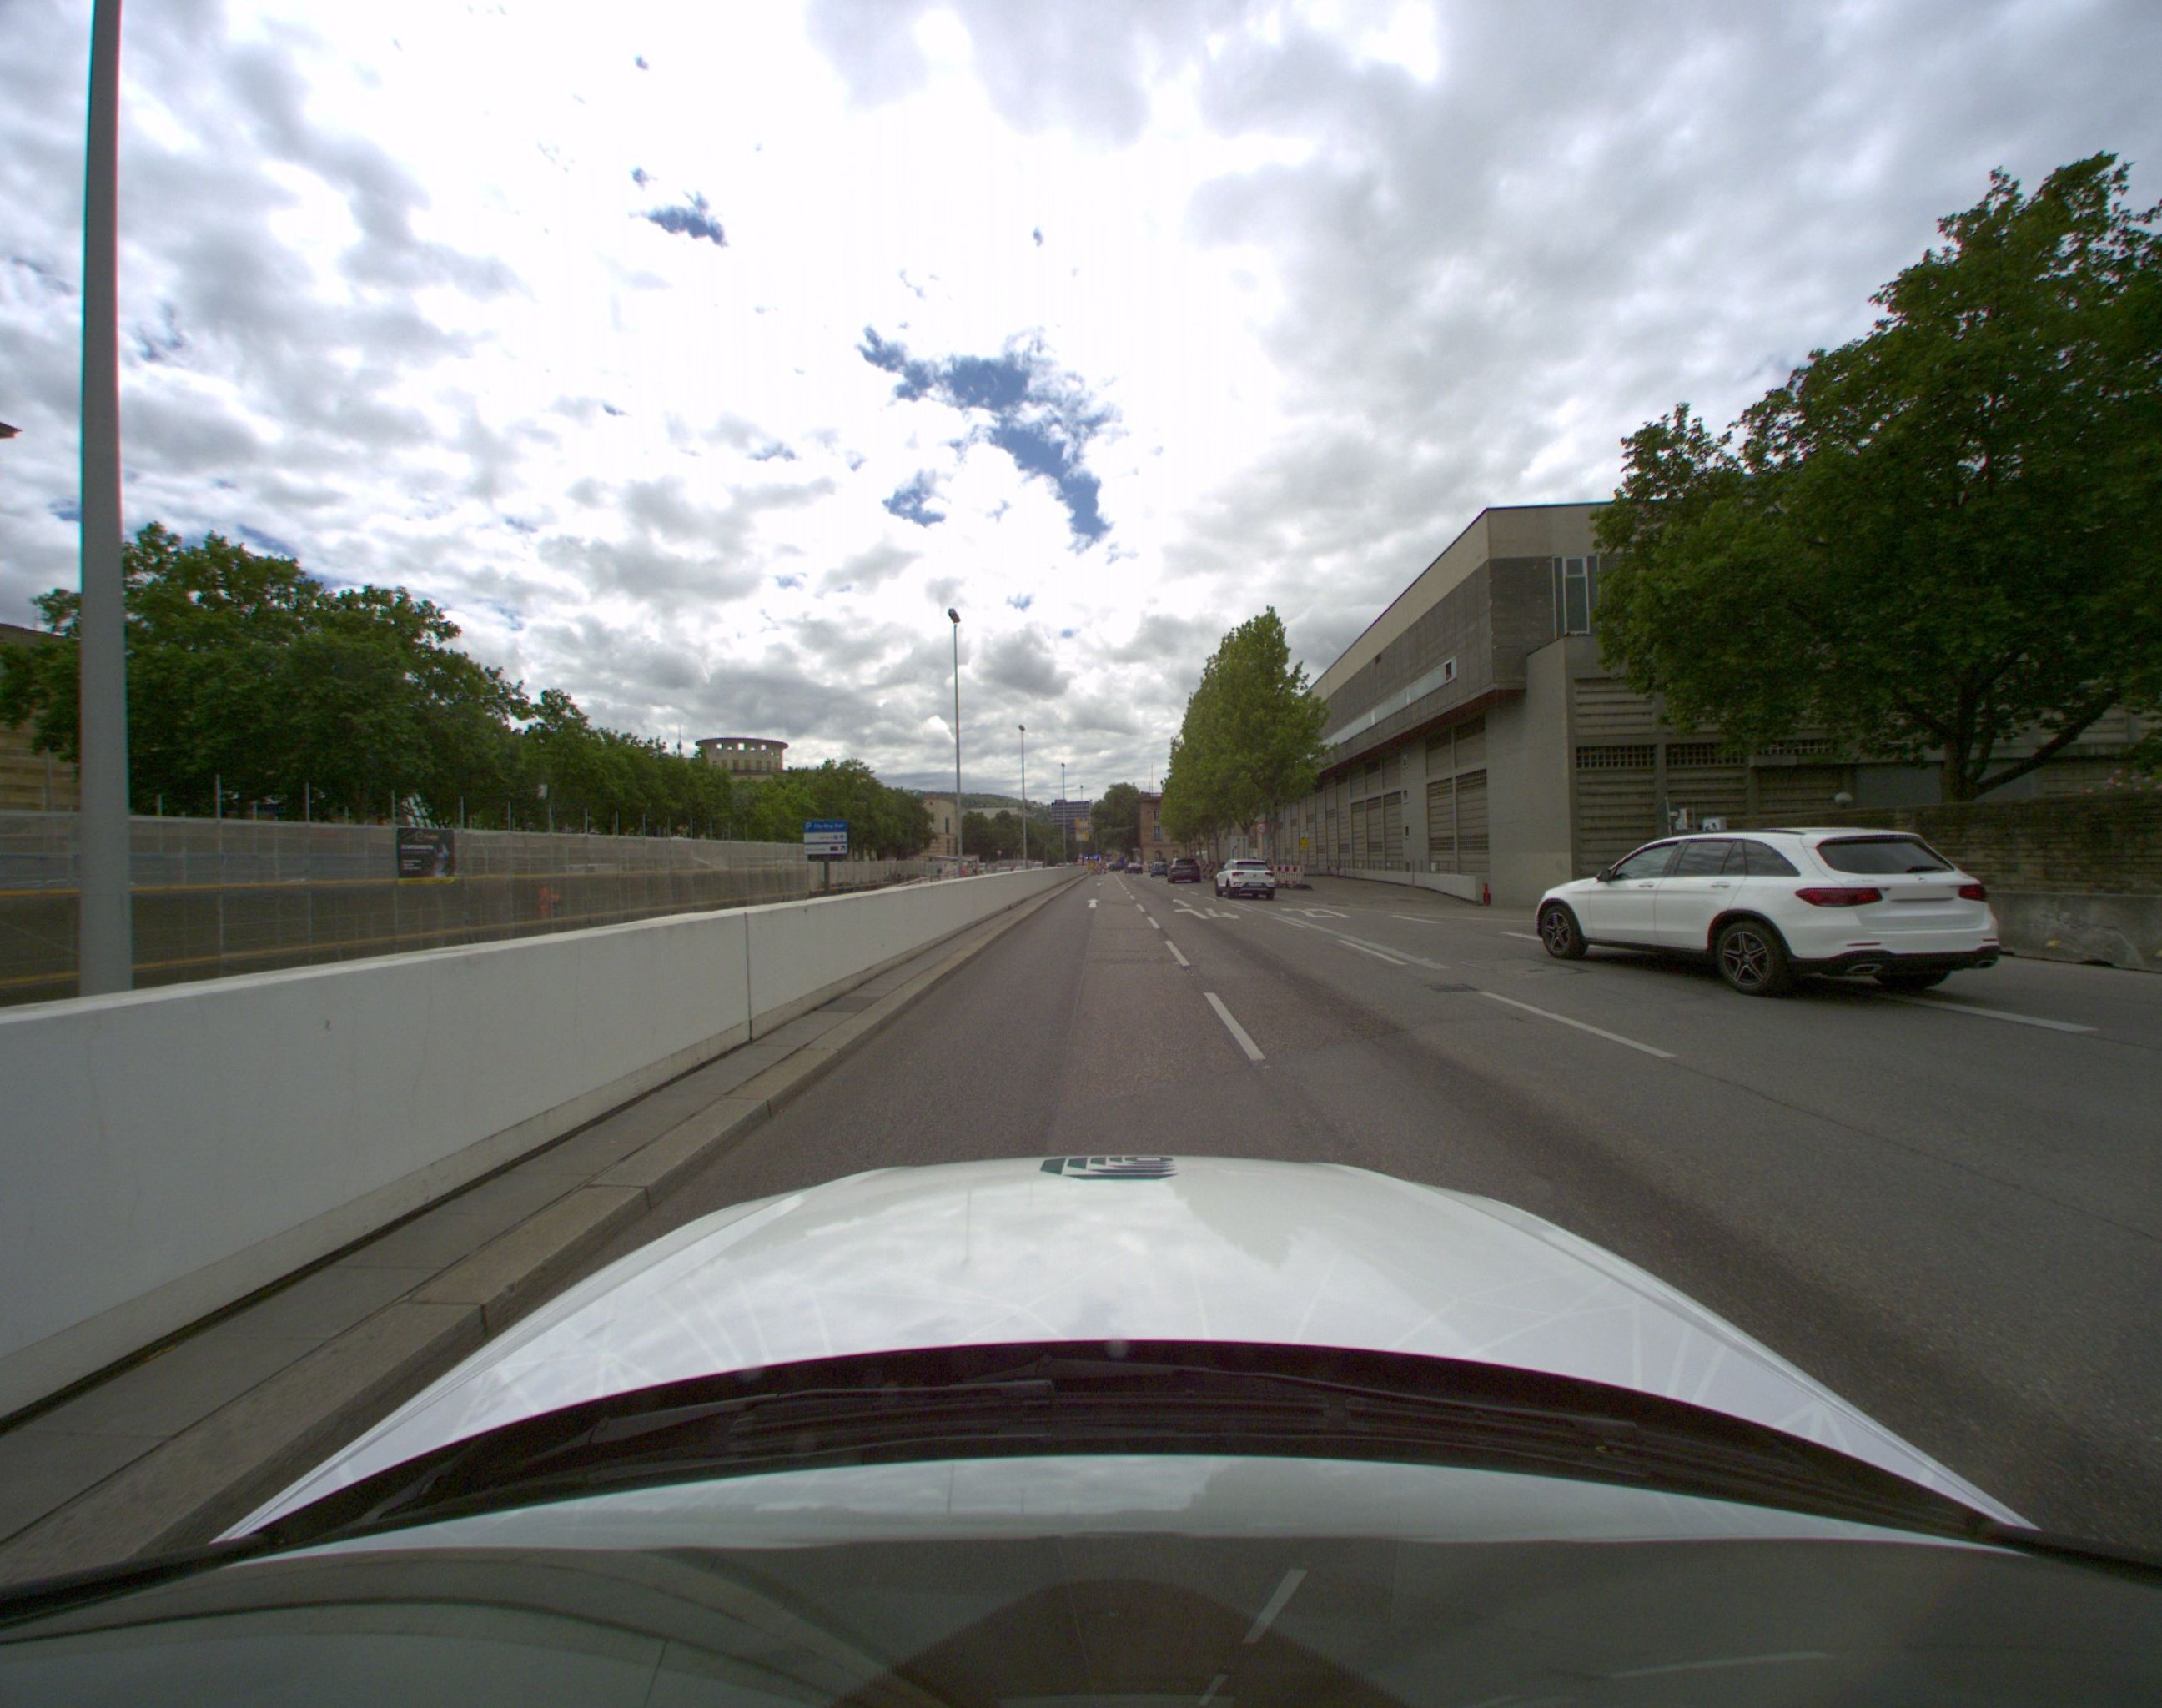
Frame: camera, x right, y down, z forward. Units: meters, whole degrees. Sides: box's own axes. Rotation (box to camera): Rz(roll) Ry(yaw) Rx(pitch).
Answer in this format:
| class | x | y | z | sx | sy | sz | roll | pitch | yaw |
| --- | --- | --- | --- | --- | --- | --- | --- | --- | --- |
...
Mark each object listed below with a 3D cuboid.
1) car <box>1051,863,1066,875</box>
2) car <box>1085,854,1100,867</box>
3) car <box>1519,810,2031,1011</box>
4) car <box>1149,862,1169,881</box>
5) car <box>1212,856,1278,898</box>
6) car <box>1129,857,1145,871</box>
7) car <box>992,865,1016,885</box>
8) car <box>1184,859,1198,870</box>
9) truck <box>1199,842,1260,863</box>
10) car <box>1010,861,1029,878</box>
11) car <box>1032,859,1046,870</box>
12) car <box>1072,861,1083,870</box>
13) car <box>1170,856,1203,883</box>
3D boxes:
| class | x | y | z | sx | sy | sz | roll | pitch | yaw |
| --- | --- | --- | --- | --- | --- | --- | --- | --- | --- |
| car | -3.127 | 2.040 | 113.733 | 1.743 | 1.568 | 3.380 | -4 | -1 | 3 |
| car | 2.346 | 1.335 | 166.491 | 2.569 | 2.374 | 5.536 | -2 | -1 | 6 |
| car | 7.343 | 0.507 | 9.425 | 1.808 | 1.642 | 4.546 | -4 | 0 | -4 |
| car | 7.727 | 1.700 | 80.276 | 1.814 | 1.740 | 4.488 | -2 | 0 | 7 |
| car | 6.508 | 0.862 | 32.778 | 1.745 | 1.568 | 4.329 | 0 | 0 | -1 |
| car | 7.309 | 1.267 | 106.244 | 1.814 | 1.740 | 4.488 | -2 | 0 | 7 |
| car | -8.324 | 2.259 | 88.446 | 1.986 | 2.013 | 4.002 | -2 | 1 | 2 |
| car | 17.569 | 1.682 | 130.231 | 1.849 | 1.568 | 4.333 | -1 | -2 | 2 |
| truck | 25.132 | -0.238 | 138.124 | 9.989 | 3.051 | 2.570 | -2 | -2 | 2 |
| car | -7.792 | 1.926 | 103.966 | 1.986 | 2.013 | 4.002 | -2 | 1 | 2 |
| car | -6.610 | 1.704 | 129.159 | 1.743 | 1.568 | 3.380 | -4 | -1 | 3 |
| car | -0.638 | 2.183 | 154.716 | 1.743 | 1.568 | 4.334 | -1 | -1 | 2 |
| car | 7.010 | 1.012 | 54.493 | 1.816 | 1.567 | 4.483 | 0 | 2 | 2 |
